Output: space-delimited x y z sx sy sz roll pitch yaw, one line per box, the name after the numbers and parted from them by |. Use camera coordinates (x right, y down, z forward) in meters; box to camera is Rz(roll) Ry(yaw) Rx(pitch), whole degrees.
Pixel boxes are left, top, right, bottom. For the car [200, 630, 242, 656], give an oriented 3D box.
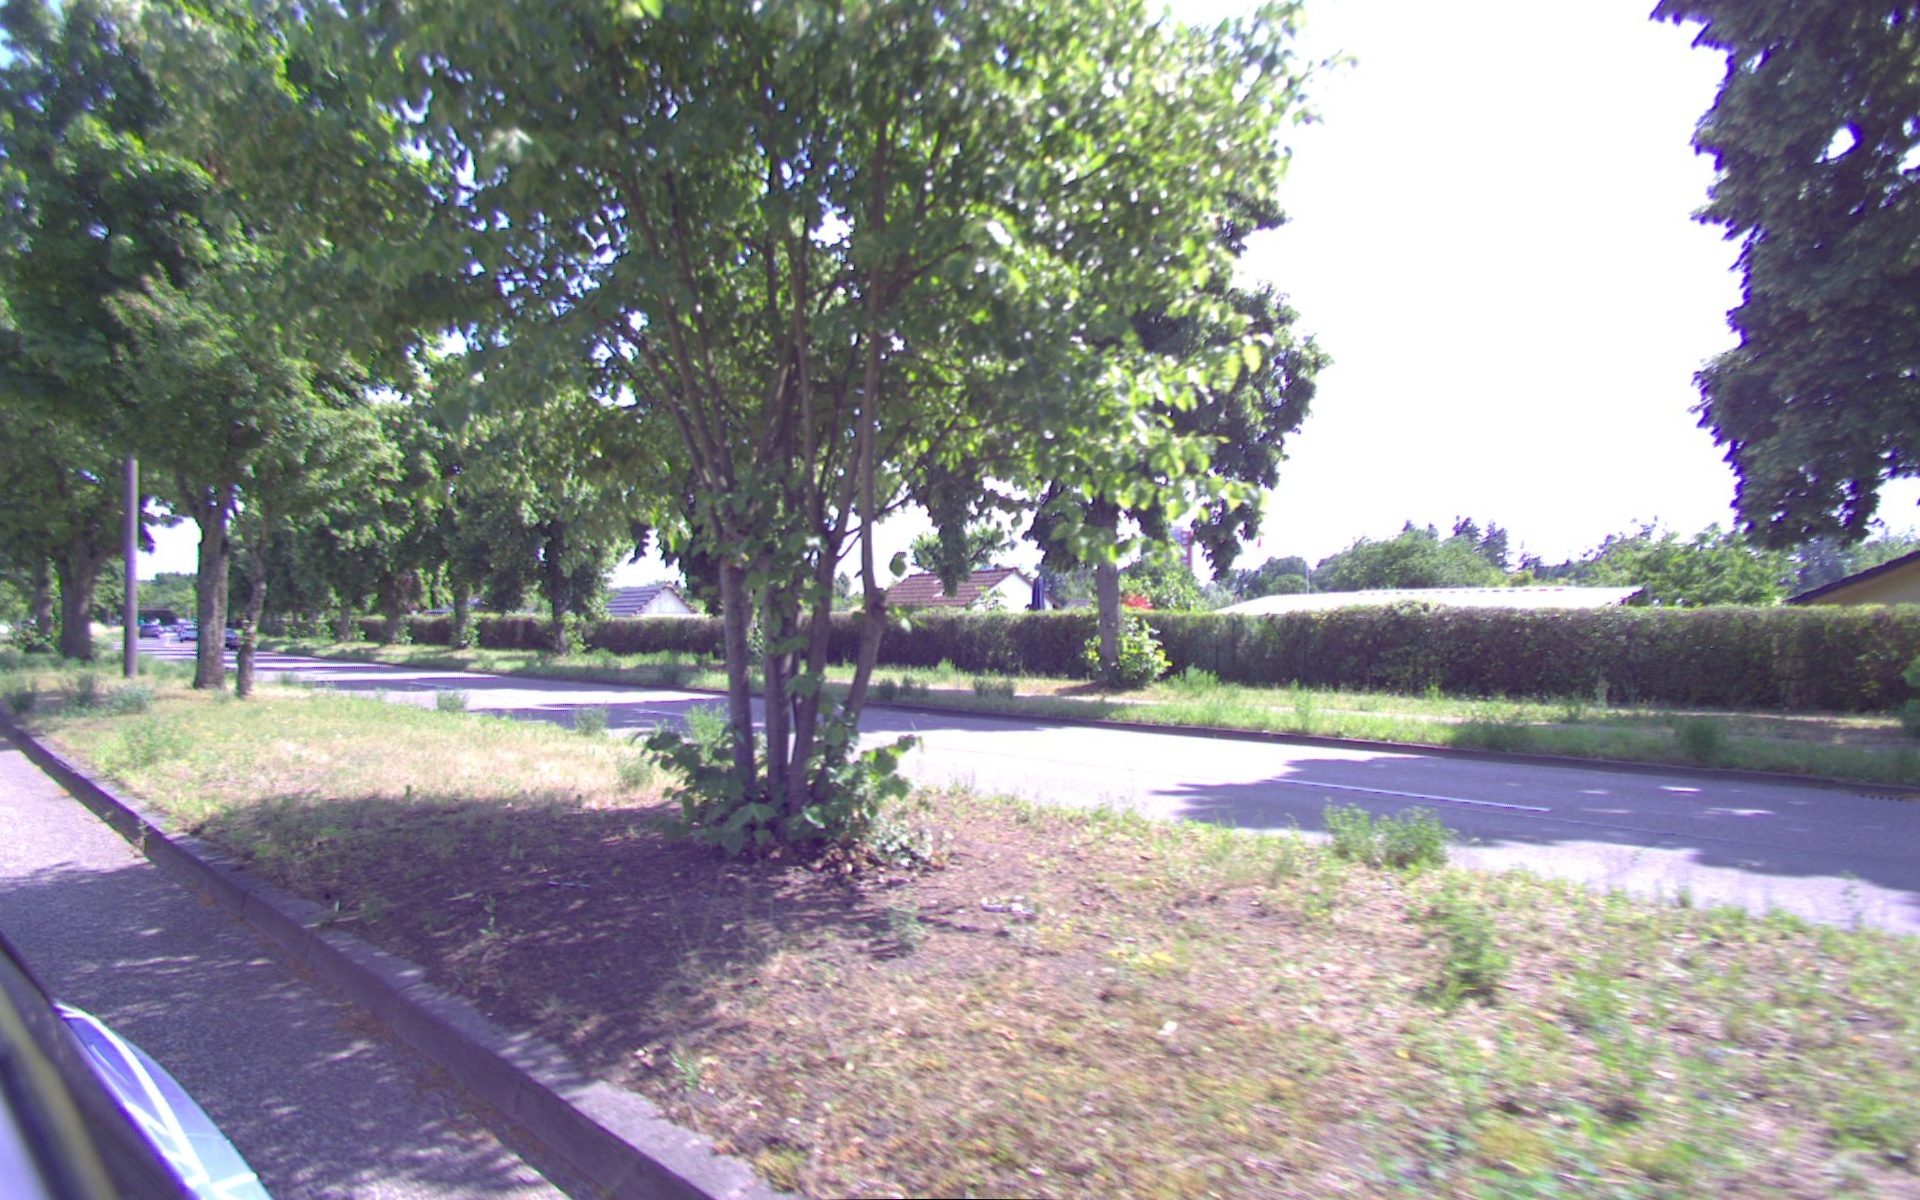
-46.719 2.729 63.949 1.715 1.598 4.117 3 -3 -41 | car

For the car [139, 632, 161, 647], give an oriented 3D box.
-89.426 4.349 111.704 1.714 1.598 4.121 3 -3 -37 | car

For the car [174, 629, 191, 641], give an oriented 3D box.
-104.552 4.660 136.081 1.714 1.598 4.121 3 -3 -37 | car

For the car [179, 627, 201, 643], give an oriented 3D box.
-79.686 3.669 104.700 1.714 1.598 4.121 3 -3 -37 | car

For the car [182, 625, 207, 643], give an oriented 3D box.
-70.437 3.157 93.146 1.714 1.598 4.121 3 -3 -37 | car
